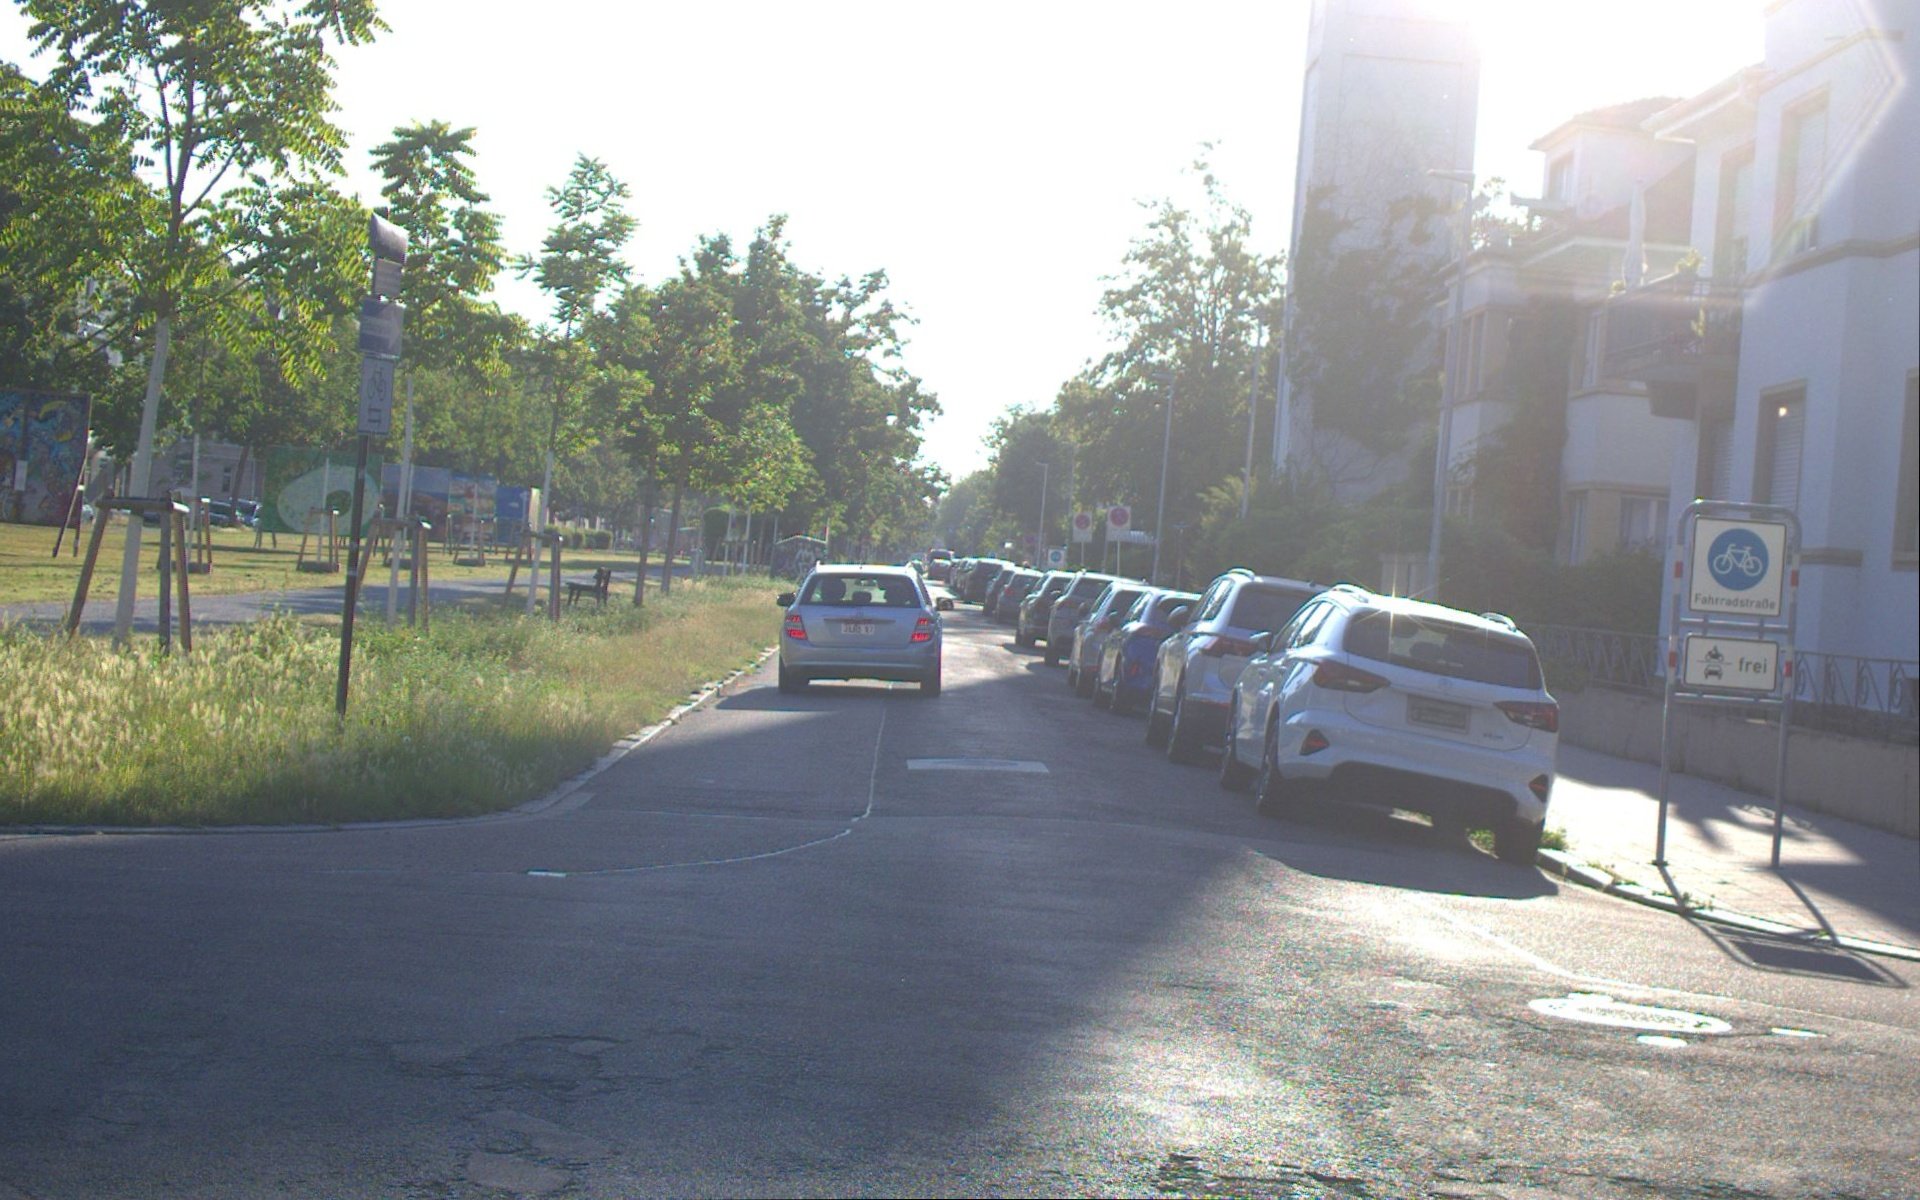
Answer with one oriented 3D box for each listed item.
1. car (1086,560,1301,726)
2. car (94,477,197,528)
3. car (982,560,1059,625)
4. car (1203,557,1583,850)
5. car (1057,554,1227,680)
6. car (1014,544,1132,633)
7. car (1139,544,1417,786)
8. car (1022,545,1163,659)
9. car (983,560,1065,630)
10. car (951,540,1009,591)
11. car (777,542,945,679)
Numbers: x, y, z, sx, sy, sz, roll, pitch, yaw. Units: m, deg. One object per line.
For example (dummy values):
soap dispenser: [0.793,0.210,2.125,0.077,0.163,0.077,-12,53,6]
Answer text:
car: [2.514,0.427,37.892,1.761,1.415,4.001,10,1,-2]
car: [-37.140,-4.445,156.900,3.160,2.140,6.110,2,1,0]
car: [1.679,-0.230,96.599,1.993,1.624,4.000,4,1,0]
car: [2.785,0.604,23.063,1.758,1.599,4.359,4,1,-2]
car: [2.247,0.178,43.291,1.760,1.415,4.001,2,1,-2]
car: [2.067,-0.236,64.052,1.993,1.459,4.000,4,1,0]
car: [2.612,0.477,29.115,1.685,1.645,4.100,9,1,-1]
car: [2.023,0.001,53.507,1.761,1.516,4.001,6,1,-2]
car: [1.653,-0.160,89.978,1.993,1.624,4.000,4,1,0]
car: [0.725,-1.261,124.821,1.980,1.677,4.000,4,1,0]
car: [-1.110,0.076,38.295,1.760,1.415,4.001,0,1,-2]
